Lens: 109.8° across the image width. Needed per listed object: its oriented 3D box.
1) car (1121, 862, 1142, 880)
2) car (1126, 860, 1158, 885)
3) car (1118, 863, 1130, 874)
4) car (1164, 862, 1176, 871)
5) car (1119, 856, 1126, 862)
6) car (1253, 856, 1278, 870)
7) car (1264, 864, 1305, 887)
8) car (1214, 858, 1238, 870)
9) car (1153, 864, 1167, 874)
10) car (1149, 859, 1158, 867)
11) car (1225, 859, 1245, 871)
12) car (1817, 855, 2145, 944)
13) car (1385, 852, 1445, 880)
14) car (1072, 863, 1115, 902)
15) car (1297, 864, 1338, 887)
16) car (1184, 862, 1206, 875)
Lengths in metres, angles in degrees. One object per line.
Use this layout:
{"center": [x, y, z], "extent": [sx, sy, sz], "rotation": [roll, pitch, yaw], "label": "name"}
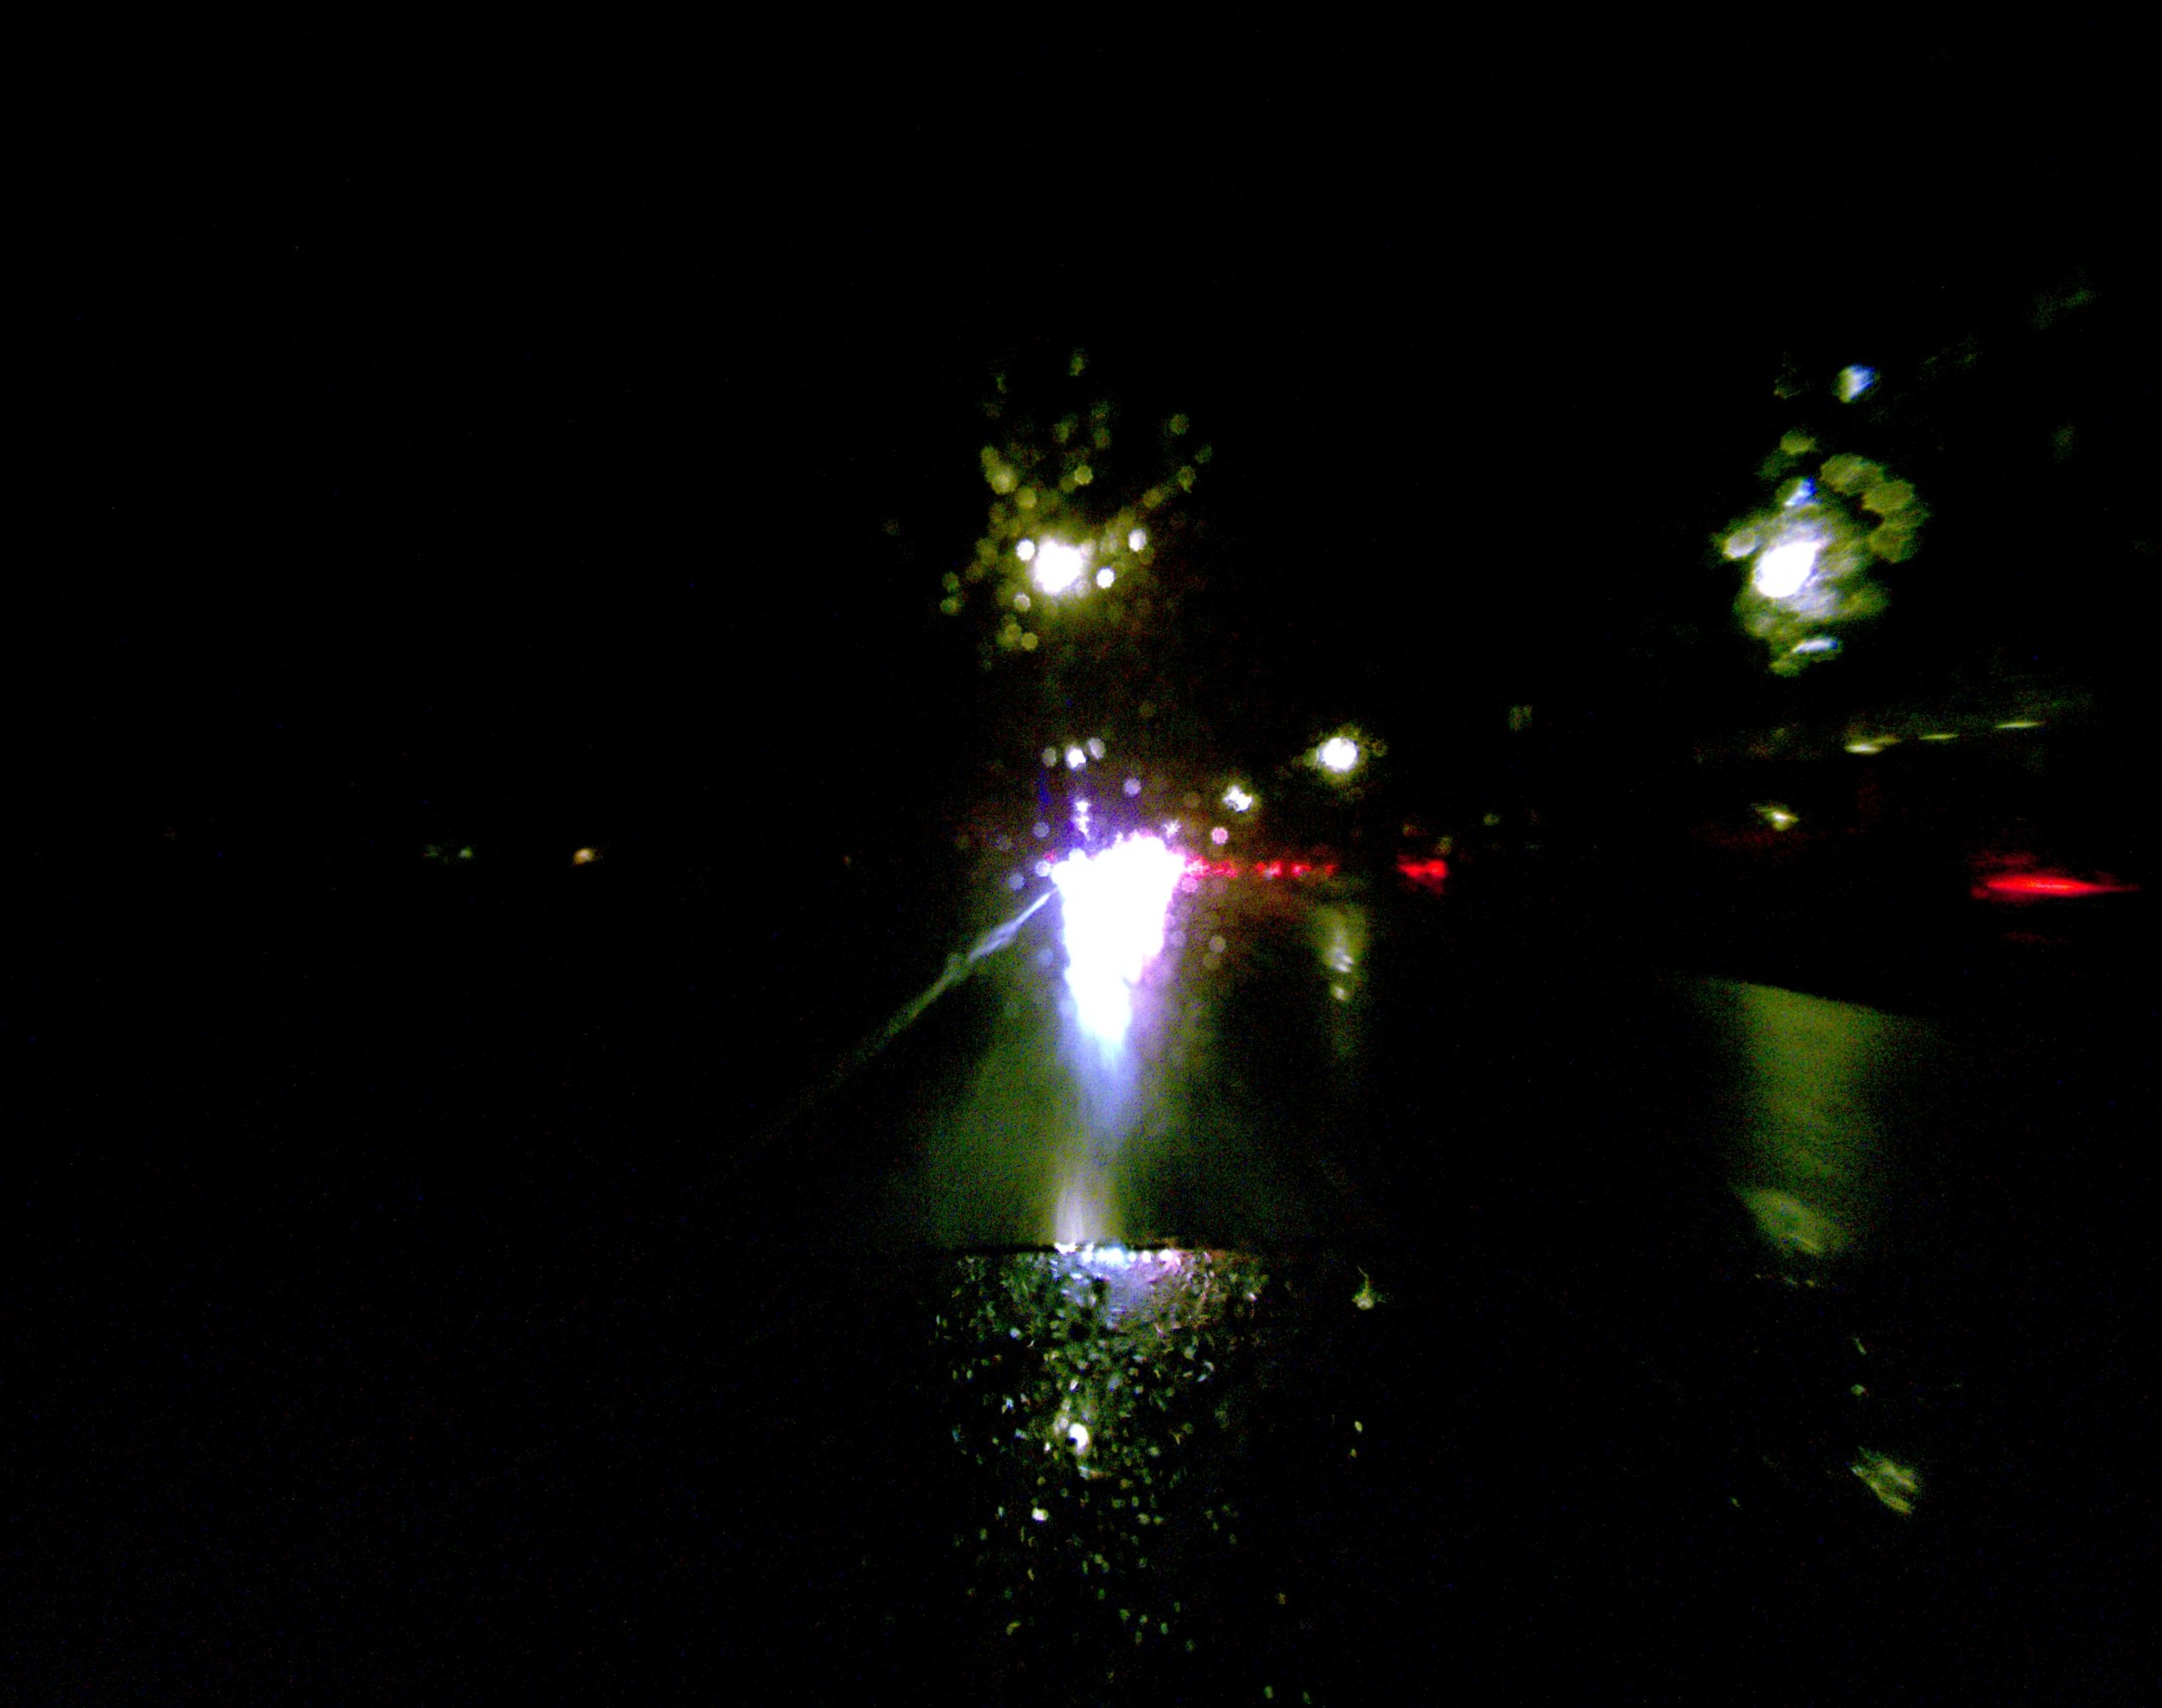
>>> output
{"center": [5.043, 1.684, 75.864], "extent": [1.833, 1.696, 4.194], "rotation": [-2, 0, 1], "label": "car"}
{"center": [4.147, 1.217, 52.015], "extent": [1.833, 1.518, 4.875], "rotation": [-2, 0, 1], "label": "car"}
{"center": [6.981, 2.354, 124.186], "extent": [1.833, 1.696, 4.194], "rotation": [-2, 0, 1], "label": "car"}
{"center": [15.782, 2.163, 135.054], "extent": [1.711, 1.568, 3.820], "rotation": [-2, 0, 0], "label": "car"}
{"center": [12.527, 1.486, 227.838], "extent": [1.833, 1.696, 4.194], "rotation": [-2, 0, 1], "label": "car"}
{"center": [21.092, 1.017, 87.029], "extent": [1.847, 1.583, 4.366], "rotation": [-2, 0, 2], "label": "car"}
{"center": [14.394, 1.525, 54.046], "extent": [1.847, 1.477, 4.366], "rotation": [-2, 0, 2], "label": "car"}
{"center": [18.465, 1.233, 96.904], "extent": [1.848, 1.350, 5.558], "rotation": [-2, 0, 0], "label": "car"}
{"center": [13.158, 2.440, 127.336], "extent": [1.848, 1.583, 4.256], "rotation": [2, 0, 0], "label": "car"}
{"center": [16.215, 2.027, 169.625], "extent": [1.711, 1.568, 3.820], "rotation": [-2, 0, 0], "label": "car"}
{"center": [21.402, 1.505, 105.869], "extent": [1.848, 1.583, 4.750], "rotation": [-2, 0, 0], "label": "car"}
{"center": [19.889, 0.900, 17.205], "extent": [2.029, 1.674, 4.548], "rotation": [-2, 0, 0], "label": "car"}
{"center": [20.380, 0.703, 46.574], "extent": [1.847, 1.583, 4.366], "rotation": [-2, 0, 2], "label": "car"}
{"center": [0.618, 1.340, 36.984], "extent": [1.950, 1.709, 4.442], "rotation": [-2, 0, 1], "label": "car"}
{"center": [17.715, 1.561, 57.112], "extent": [1.847, 1.583, 4.366], "rotation": [-2, 0, 2], "label": "car"}
{"center": [15.360, 1.974, 102.548], "extent": [1.848, 1.583, 5.326], "rotation": [-2, 0, -3], "label": "car"}
